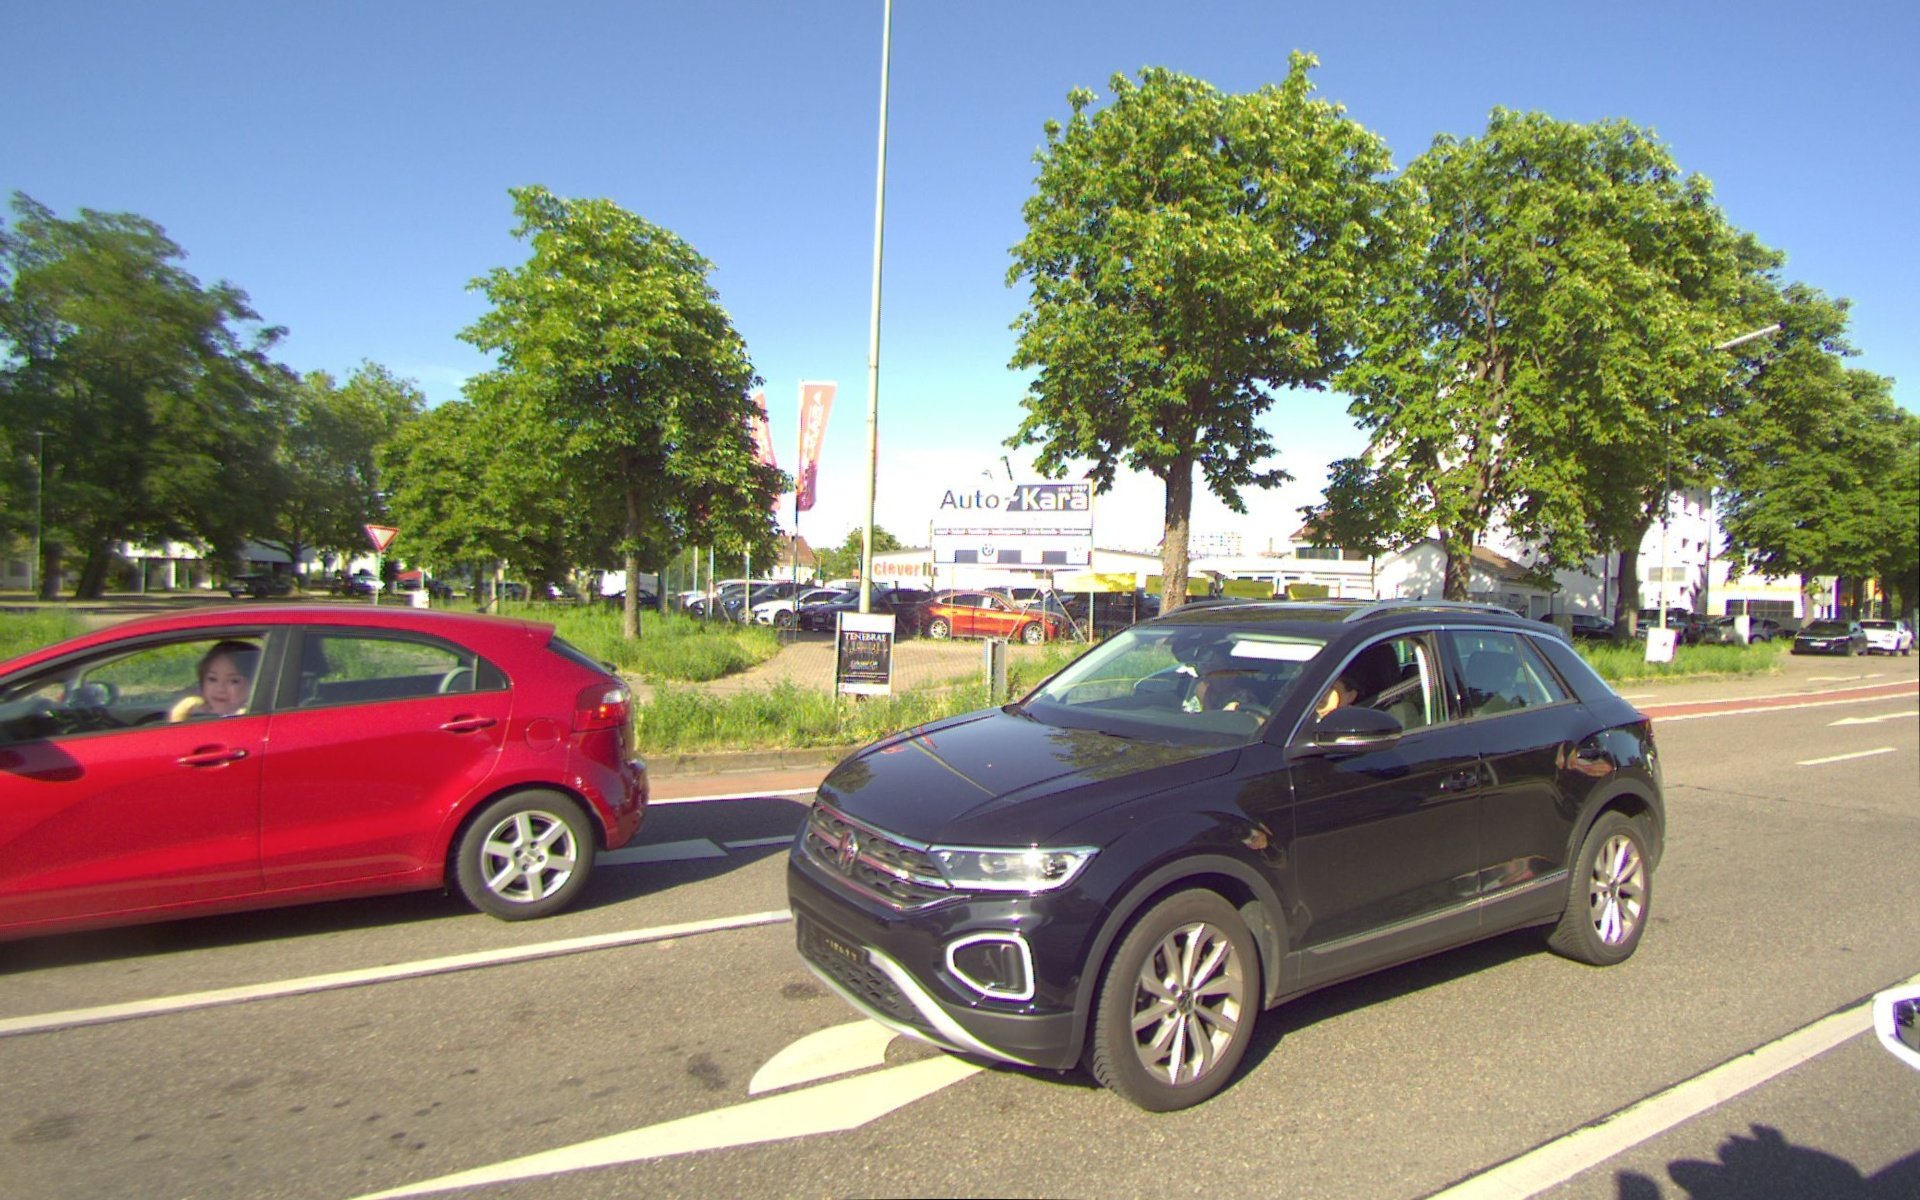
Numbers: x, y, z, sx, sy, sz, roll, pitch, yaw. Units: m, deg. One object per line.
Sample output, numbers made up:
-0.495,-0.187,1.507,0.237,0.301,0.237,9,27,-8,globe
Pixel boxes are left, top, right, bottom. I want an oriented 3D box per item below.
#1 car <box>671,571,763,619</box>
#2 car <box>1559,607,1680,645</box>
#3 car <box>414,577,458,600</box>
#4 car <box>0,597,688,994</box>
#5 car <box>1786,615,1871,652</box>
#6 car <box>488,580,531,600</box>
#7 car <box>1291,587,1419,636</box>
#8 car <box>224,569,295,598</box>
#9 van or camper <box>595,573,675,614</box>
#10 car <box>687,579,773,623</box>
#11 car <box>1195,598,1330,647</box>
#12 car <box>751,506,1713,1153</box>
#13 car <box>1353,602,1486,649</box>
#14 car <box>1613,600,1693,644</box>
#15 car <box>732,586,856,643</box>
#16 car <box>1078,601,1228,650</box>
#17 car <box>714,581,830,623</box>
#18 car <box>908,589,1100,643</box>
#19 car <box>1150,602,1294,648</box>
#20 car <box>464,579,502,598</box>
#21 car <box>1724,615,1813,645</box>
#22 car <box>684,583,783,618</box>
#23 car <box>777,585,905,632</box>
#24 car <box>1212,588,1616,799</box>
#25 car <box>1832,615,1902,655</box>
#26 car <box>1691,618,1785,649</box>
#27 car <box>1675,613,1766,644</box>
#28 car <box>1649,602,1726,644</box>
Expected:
-11.055,-0.204,45.589,3.936,2.040,1.993,1,0,-17,car
28.028,1.089,42.776,1.895,1.448,3.949,3,-1,-43,car
-41.652,-0.930,79.921,1.705,1.640,3.995,3,1,-6,car
-3.451,0.735,4.745,3.846,1.433,1.775,2,0,-31,car
37.891,1.445,43.798,4.921,1.483,2.021,1,0,-40,car
-36.422,-0.823,81.315,1.963,1.469,3.995,3,1,-6,car
14.438,0.392,36.808,3.944,1.632,1.911,2,1,43,car
-46.077,-1.052,66.181,1.971,1.820,3.998,1,1,-2,car
-22.066,-0.395,68.602,2.553,2.617,6.616,1,-1,7,van or camper
-11.194,0.034,48.831,3.937,2.041,1.992,1,1,-18,car
9.952,0.703,33.167,3.819,1.432,1.938,2,1,38,car
1.318,0.611,4.396,3.957,1.620,1.902,2,0,-33,car
17.474,0.915,38.252,4.335,1.596,1.808,2,1,34,car
32.835,1.040,47.533,5.059,1.956,1.733,1,0,-39,car
-5.941,0.527,36.082,3.952,1.911,1.984,1,0,-30,car
5.689,0.705,29.759,3.869,1.257,2.037,2,1,36,car
-7.170,0.089,38.367,3.952,1.460,1.984,1,0,-30,car
1.270,0.412,28.629,4.963,1.327,2.360,1,1,23,car
8.112,0.733,31.227,3.869,1.257,2.037,2,1,36,car
-40.861,-1.024,86.057,1.838,1.459,3.480,3,1,-6,car
48.175,1.773,59.895,3.957,1.605,1.887,2,1,44,car
-9.815,0.035,43.534,3.944,1.427,1.828,1,1,-24,car
-4.026,0.283,34.056,3.952,1.481,1.731,1,0,-30,car
4.764,0.792,10.376,4.225,1.759,1.841,0,1,-34,car
44.146,1.677,48.851,5.198,1.752,2.019,1,1,-42,car
43.778,1.837,56.627,3.928,1.619,1.996,0,0,30,car
41.425,1.523,54.819,3.599,1.530,1.783,1,1,24,car
36.853,1.155,50.865,4.748,1.956,2.052,1,1,-40,car
